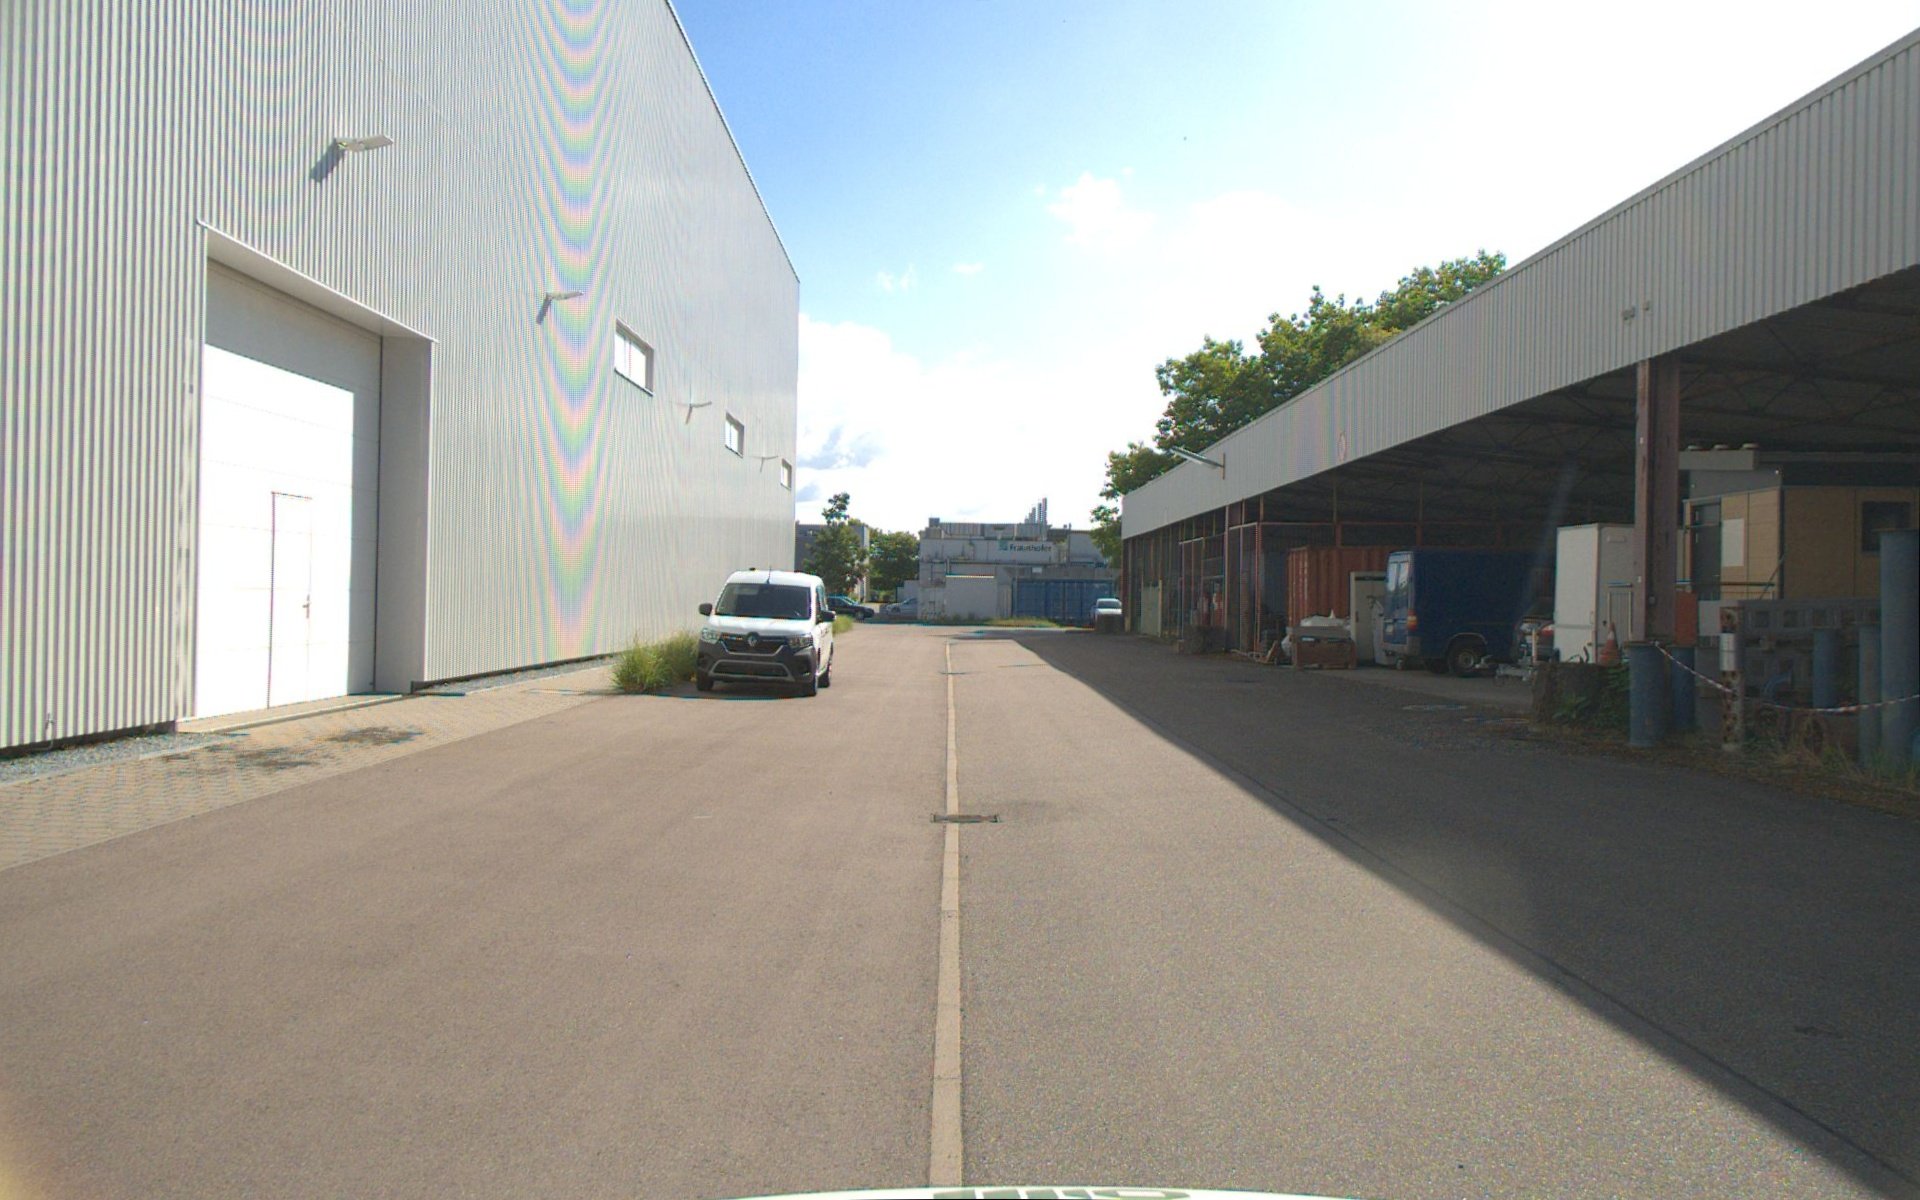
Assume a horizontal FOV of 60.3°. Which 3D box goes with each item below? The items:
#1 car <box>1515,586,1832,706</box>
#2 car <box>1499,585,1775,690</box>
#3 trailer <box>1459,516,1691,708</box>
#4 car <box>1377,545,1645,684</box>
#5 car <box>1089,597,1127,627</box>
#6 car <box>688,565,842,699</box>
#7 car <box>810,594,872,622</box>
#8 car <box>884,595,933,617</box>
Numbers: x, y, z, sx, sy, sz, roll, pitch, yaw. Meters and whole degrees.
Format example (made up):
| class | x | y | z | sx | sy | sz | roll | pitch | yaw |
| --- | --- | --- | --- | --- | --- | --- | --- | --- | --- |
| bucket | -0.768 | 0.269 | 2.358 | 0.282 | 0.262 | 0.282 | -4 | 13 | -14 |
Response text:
| class | x | y | z | sx | sy | sz | roll | pitch | yaw |
| --- | --- | --- | --- | --- | --- | --- | --- | --- | --- |
| car | 10.472 | 0.690 | 24.458 | 3.955 | 1.551 | 1.684 | 2 | -2 | 0 |
| car | 11.352 | 0.646 | 27.892 | 3.955 | 1.551 | 1.684 | 2 | -2 | 0 |
| trailer | 8.183 | 0.160 | 22.170 | 2.472 | 2.441 | 1.727 | 1 | -1 | 0 |
| car | 10.247 | 0.289 | 30.978 | 4.342 | 2.350 | 1.915 | 2 | -2 | 0 |
| car | 8.511 | 0.695 | 95.428 | 1.921 | 1.592 | 4.060 | 2 | 1 | 1 |
| car | -2.898 | 0.440 | 25.505 | 1.781 | 1.818 | 4.405 | 2 | 0 | 0 |
| car | -7.748 | 0.523 | 107.665 | 3.906 | 1.626 | 1.741 | 2 | -2 | -2 |
| car | -4.212 | 0.482 | 135.584 | 3.906 | 1.626 | 1.847 | 2 | -2 | -2 |
